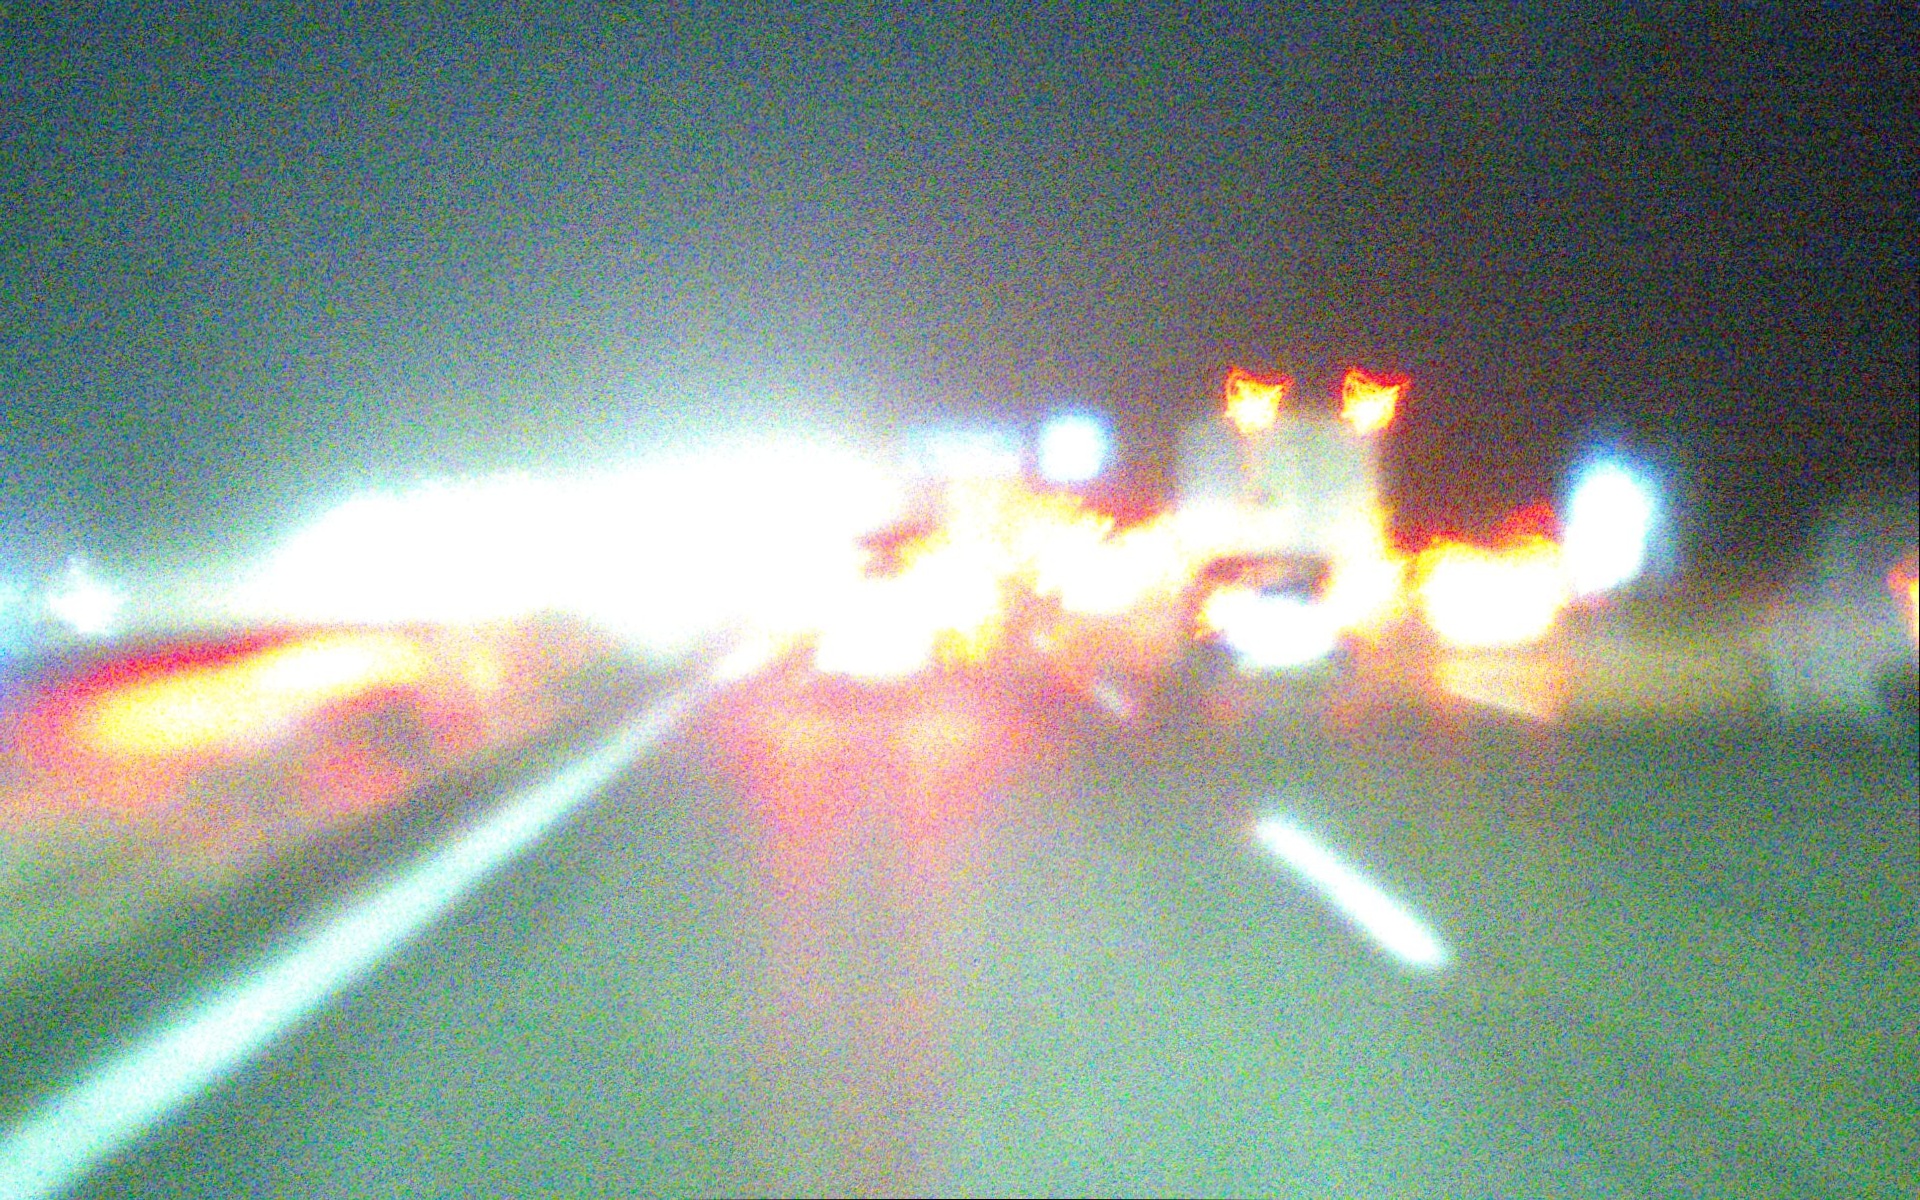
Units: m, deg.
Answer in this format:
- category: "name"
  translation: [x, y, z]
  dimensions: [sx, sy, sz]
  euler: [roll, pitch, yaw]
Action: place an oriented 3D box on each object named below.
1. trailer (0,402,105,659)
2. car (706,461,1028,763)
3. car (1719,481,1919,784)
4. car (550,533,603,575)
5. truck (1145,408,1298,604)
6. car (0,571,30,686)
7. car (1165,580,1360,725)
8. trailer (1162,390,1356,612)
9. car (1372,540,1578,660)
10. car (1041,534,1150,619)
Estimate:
- category: "trailer"
  translation: [-17.484, -1.118, 57.005]
  dimensions: [3.048, 4.278, 14.410]
  euler: [-2, 1, -1]
- category: "car"
  translation: [-0.903, 0.033, 32.704]
  dimensions: [2.709, 2.525, 5.831]
  euler: [-2, 1, -2]
- category: "car"
  translation: [7.152, 0.110, 25.043]
  dimensions: [2.046, 1.967, 5.407]
  euler: [-2, 1, 1]
- category: "car"
  translation: [-15.279, -1.843, 137.138]
  dimensions: [1.678, 1.592, 4.349]
  euler: [-2, 1, -2]
- category: "truck"
  translation: [5.931, -2.109, 78.930]
  dimensions: [2.803, 4.252, 7.448]
  euler: [1, 1, -1]
- category: "car"
  translation: [-12.967, 0.395, 42.270]
  dimensions: [1.993, 1.415, 4.000]
  euler: [-1, 1, -1]
- category: "car"
  translation: [3.147, 0.515, 36.373]
  dimensions: [1.612, 1.407, 3.792]
  euler: [1, 1, -2]
- category: "trailer"
  translation: [6.052, -1.995, 71.568]
  dimensions: [2.803, 4.198, 12.097]
  euler: [1, 1, -1]
- category: "car"
  translation: [6.943, -0.039, 46.825]
  dimensions: [1.894, 1.481, 4.962]
  euler: [1, 1, -2]
- category: "car"
  translation: [2.609, -0.474, 66.972]
  dimensions: [1.884, 1.583, 4.000]
  euler: [1, 1, -1]
